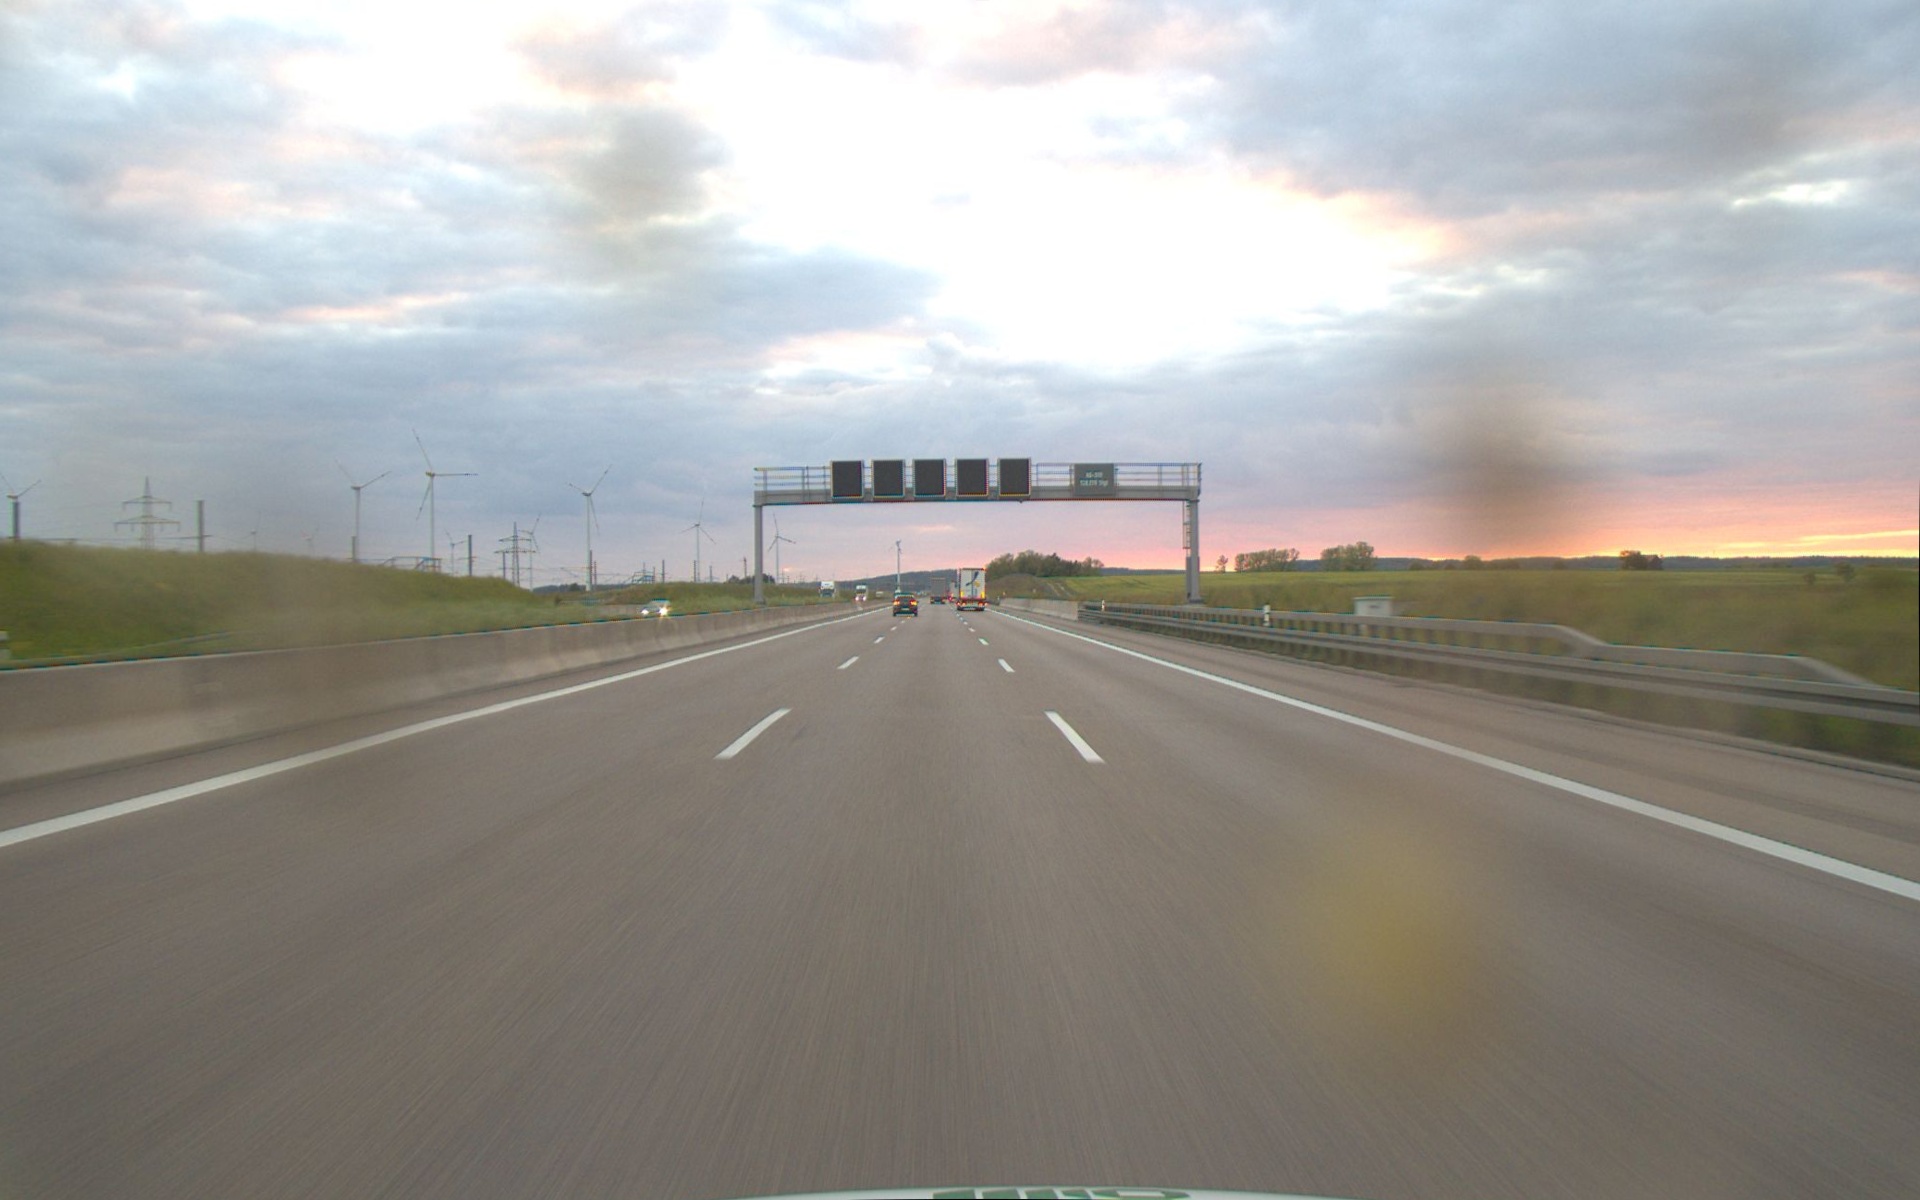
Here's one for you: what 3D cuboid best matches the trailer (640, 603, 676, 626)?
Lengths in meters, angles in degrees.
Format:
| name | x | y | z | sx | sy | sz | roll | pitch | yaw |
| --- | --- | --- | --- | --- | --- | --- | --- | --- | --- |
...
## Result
| name | x | y | z | sx | sy | sz | roll | pitch | yaw |
| --- | --- | --- | --- | --- | --- | --- | --- | --- | --- |
| trailer | -20.754 | 1.002 | 113.789 | 1.682 | 1.489 | 4.000 | -1 | 0 | 0 |

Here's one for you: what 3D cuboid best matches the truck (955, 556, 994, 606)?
| name | x | y | z | sx | sy | sz | roll | pitch | yaw |
| --- | --- | --- | --- | --- | --- | --- | --- | --- | --- |
| truck | 1.329 | -1.852 | 161.786 | 3.600 | 4.644 | 10.979 | 0 | 0 | -1 |

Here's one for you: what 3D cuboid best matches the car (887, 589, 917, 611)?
| name | x | y | z | sx | sy | sz | roll | pitch | yaw |
| --- | --- | --- | --- | --- | --- | --- | --- | --- | --- |
| car | -3.993 | 0.002 | 115.196 | 1.947 | 1.454 | 4.000 | -1 | 1 | 0 |
